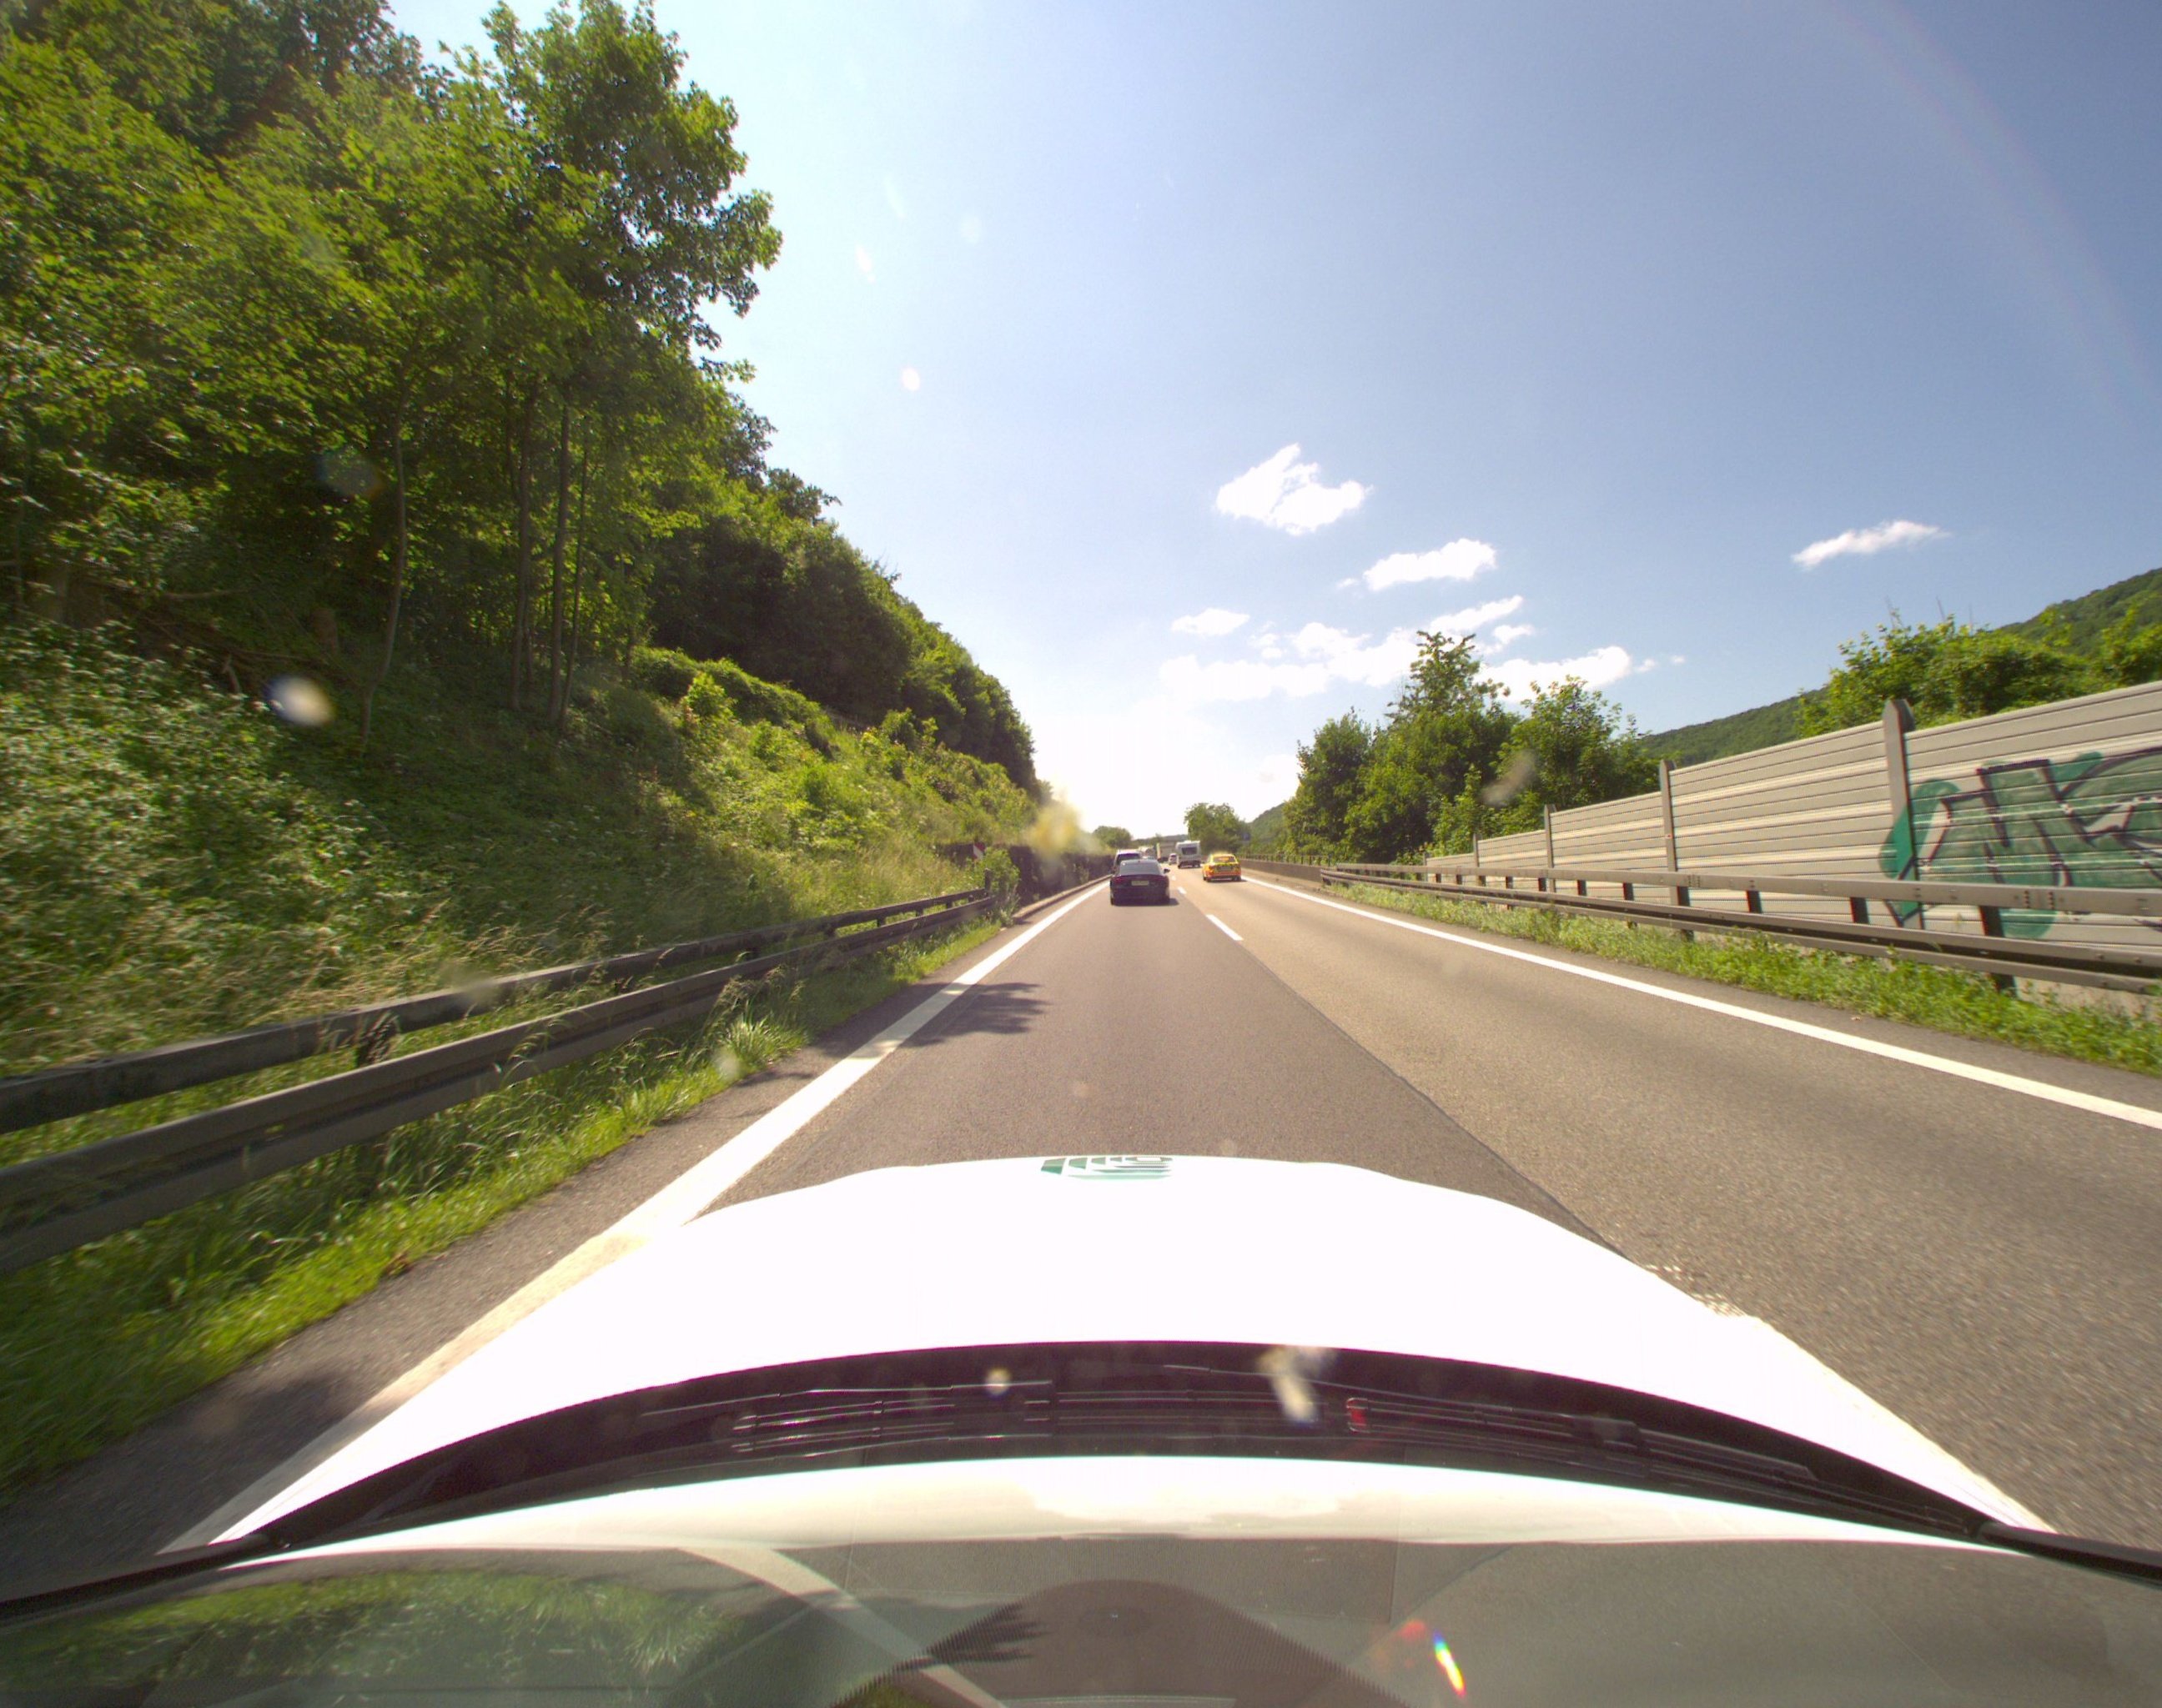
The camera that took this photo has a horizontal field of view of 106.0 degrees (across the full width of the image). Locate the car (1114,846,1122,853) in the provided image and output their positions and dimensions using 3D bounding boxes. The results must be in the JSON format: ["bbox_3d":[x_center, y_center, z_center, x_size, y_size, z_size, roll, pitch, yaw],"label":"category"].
[{"bbox_3d":[11.582,-1.303,253.074,1.989,2.013,3.995,-1,0,-4],"label":"car"}]

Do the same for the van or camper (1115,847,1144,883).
[{"bbox_3d":[2.568,0.607,43.655,1.387,1.816,4.000,-1,-1,1],"label":"van or camper"}]

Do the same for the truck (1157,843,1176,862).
[{"bbox_3d":[14.741,-0.253,141.013,2.829,3.131,7.485,-1,0,3],"label":"truck"}]

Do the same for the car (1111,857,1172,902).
[{"bbox_3d":[1.947,0.808,26.865,1.830,1.349,4.002,-1,-1,3],"label":"car"}]

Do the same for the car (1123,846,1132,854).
[{"bbox_3d":[13.056,-1.149,226.928,1.989,2.013,3.995,-1,0,-4],"label":"car"}]

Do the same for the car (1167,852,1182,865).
[{"bbox_3d":[12.880,0.601,112.238,1.833,1.717,4.005,-1,0,5],"label":"car"}]

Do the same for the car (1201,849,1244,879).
[{"bbox_3d":[7.553,0.549,43.674,1.854,1.488,4.004,-1,-1,4],"label":"car"}]

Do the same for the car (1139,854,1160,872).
[{"bbox_3d":[6.467,0.850,77.422,1.766,1.637,4.002,-1,0,2],"label":"car"}]

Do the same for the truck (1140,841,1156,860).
[{"bbox_3d":[14.317,-0.740,174.440,2.725,4.096,7.474,-1,0,-2],"label":"truck"}]

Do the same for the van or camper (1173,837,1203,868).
[{"bbox_3d":[10.728,-0.084,81.932,2.445,2.918,6.130,-1,-1,3],"label":"van or camper"}]
